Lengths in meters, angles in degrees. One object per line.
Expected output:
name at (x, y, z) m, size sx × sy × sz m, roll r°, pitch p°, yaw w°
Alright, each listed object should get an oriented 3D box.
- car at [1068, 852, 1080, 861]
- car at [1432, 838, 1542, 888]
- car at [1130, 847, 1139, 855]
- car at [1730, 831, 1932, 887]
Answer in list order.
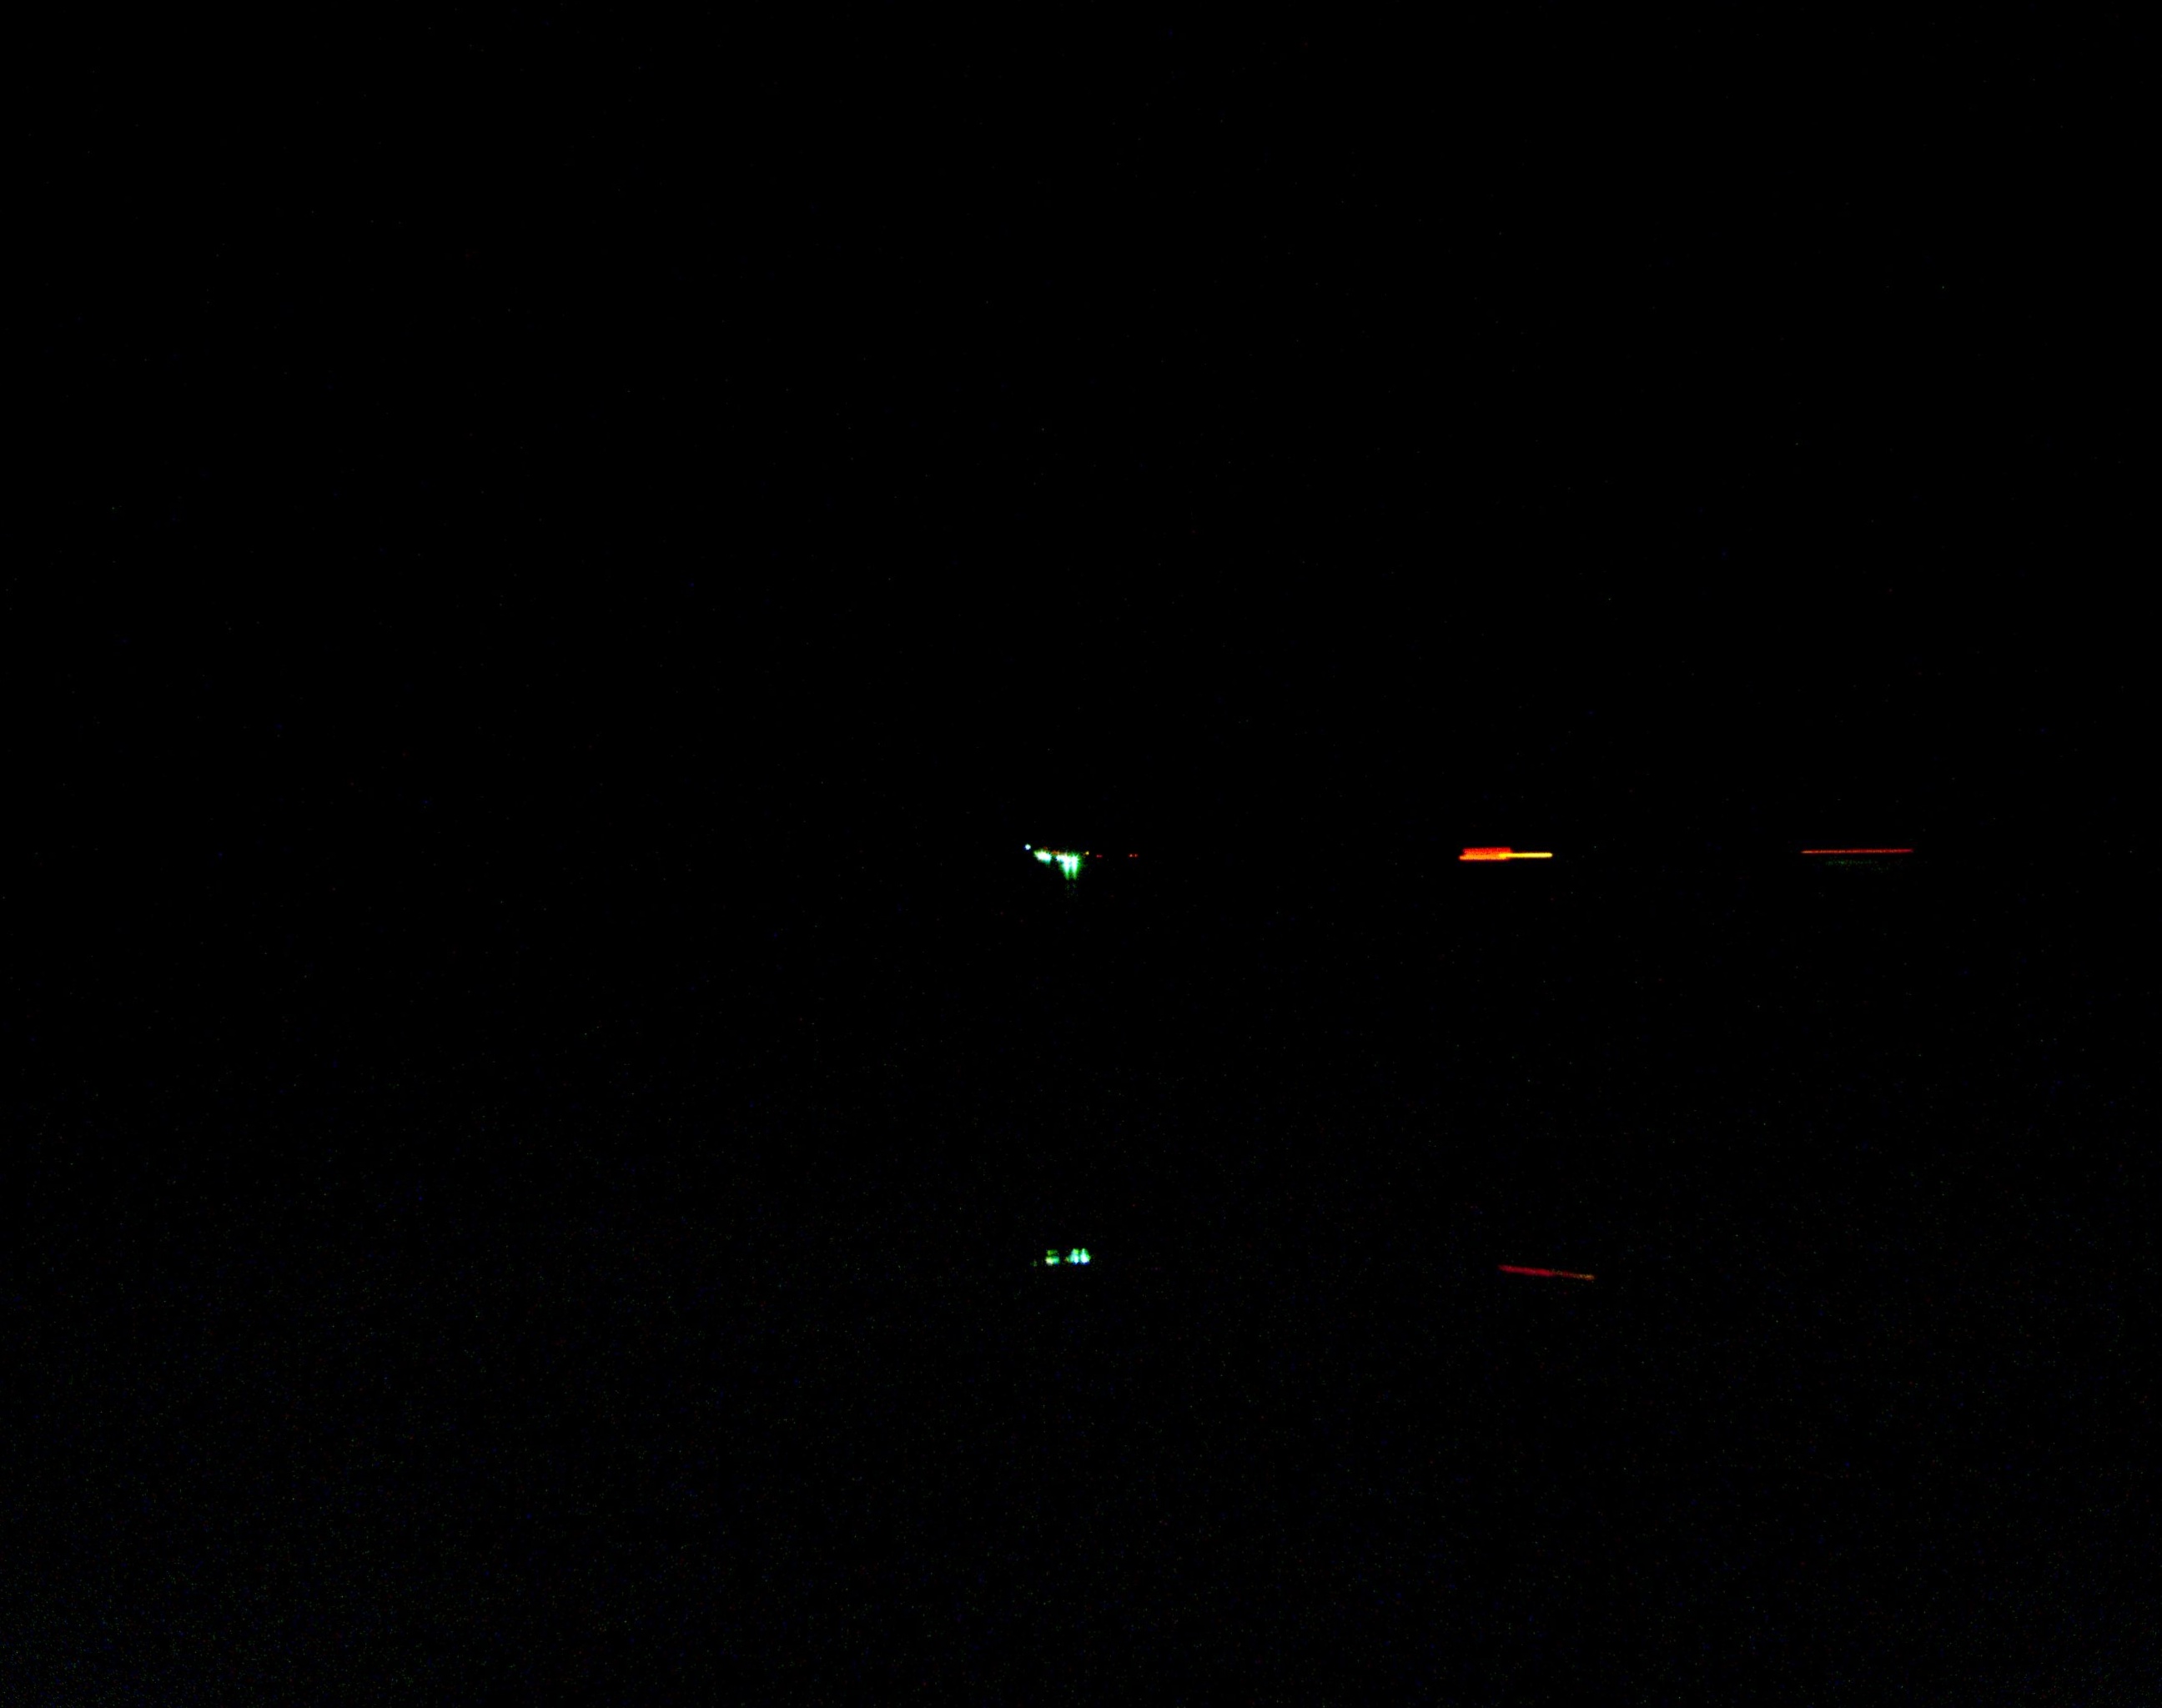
car at (-1.300, 0.453, 136.528) m, size 2.154 × 1.558 × 4.580 m, roll -2°, pitch 1°, yaw -2°
car at (16.076, 0.310, 30.382) m, size 1.998 × 1.780 × 4.680 m, roll -2°, pitch 1°, yaw 2°
car at (16.592, -0.900, 236.338) m, size 2.032 × 2.001 × 5.187 m, roll -2°, pitch -2°, yaw -2°
car at (23.059, 0.109, 23.652) m, size 1.998 × 1.499 × 4.400 m, roll -2°, pitch 1°, yaw 1°
